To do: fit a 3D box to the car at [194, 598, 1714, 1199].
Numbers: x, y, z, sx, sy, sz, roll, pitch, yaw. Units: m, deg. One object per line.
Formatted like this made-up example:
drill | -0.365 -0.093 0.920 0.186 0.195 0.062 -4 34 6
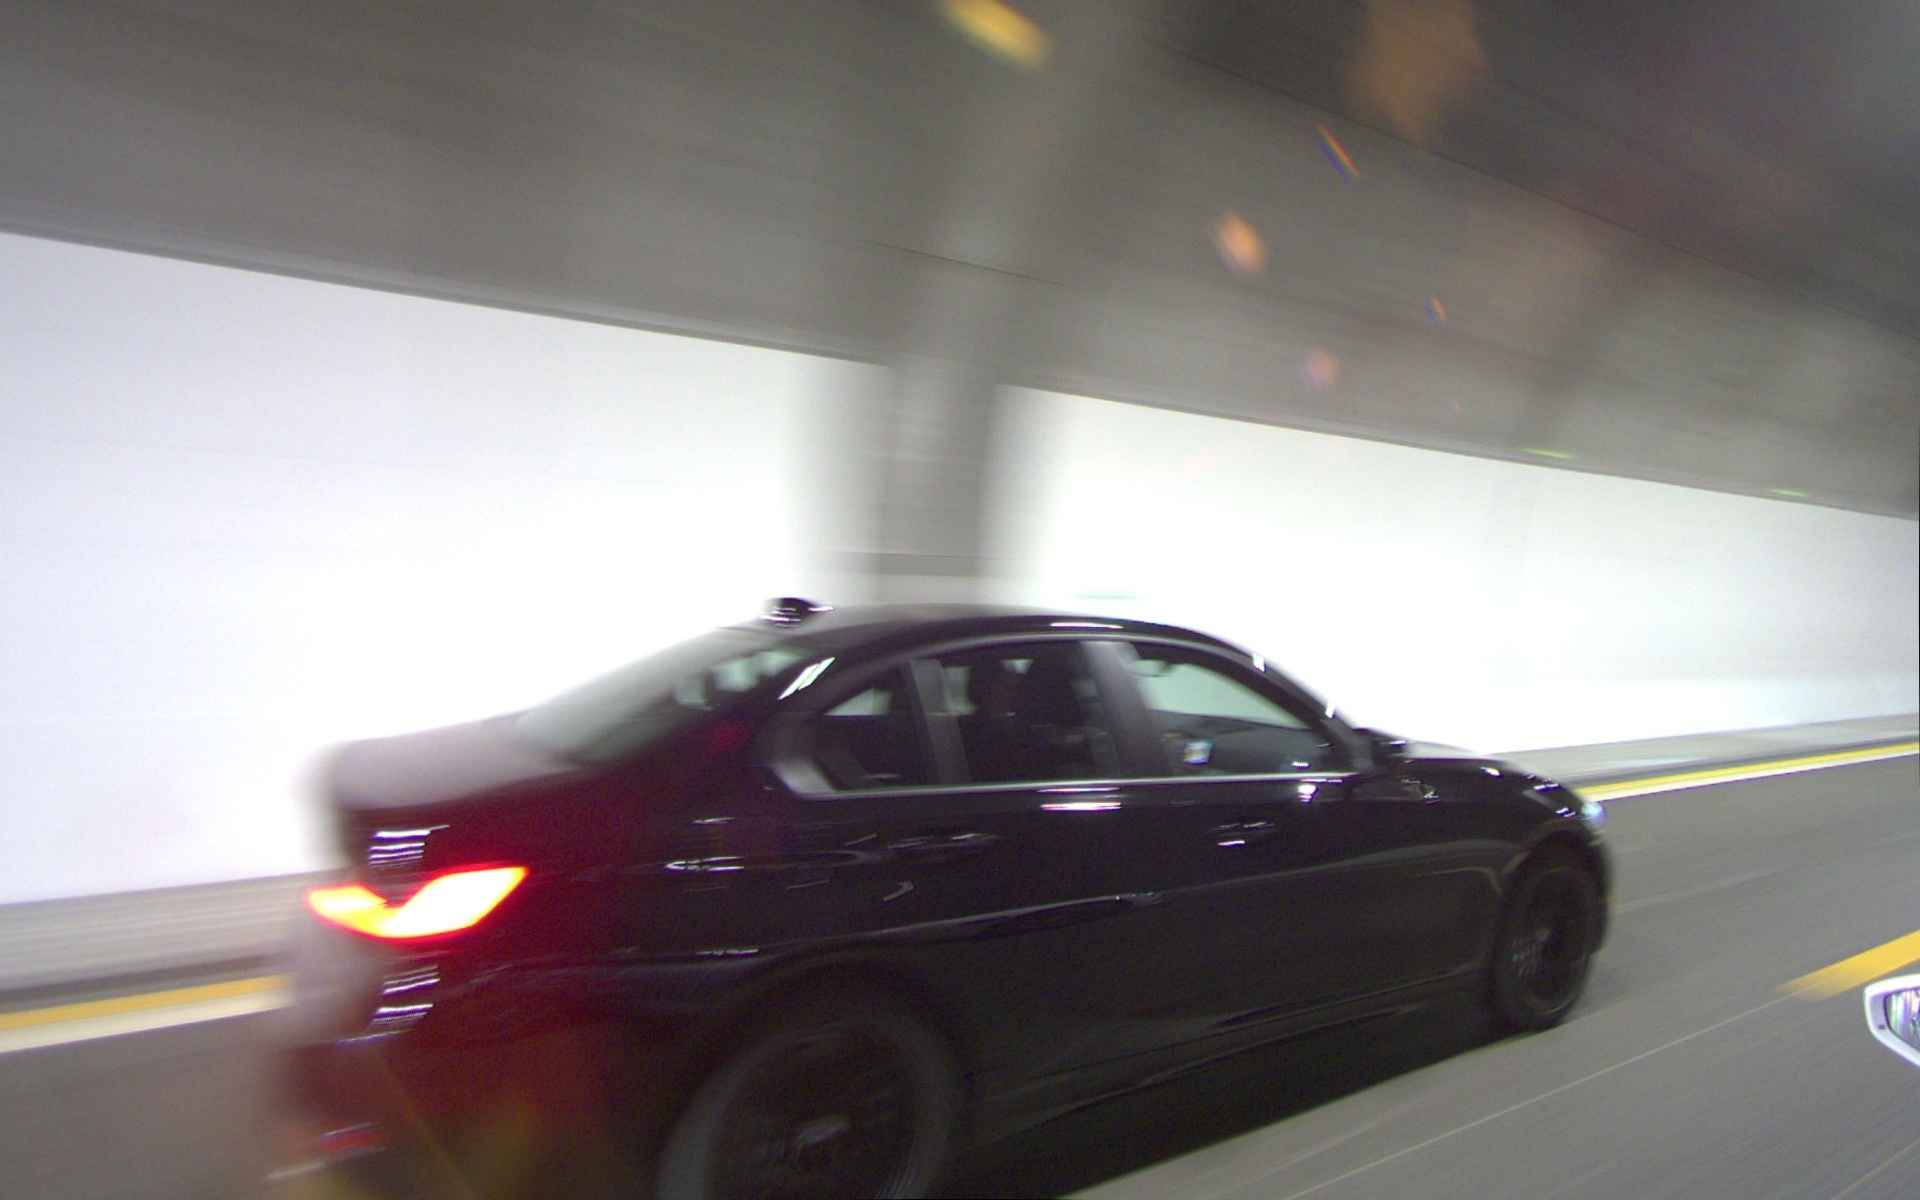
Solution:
car | 0.478 0.773 3.520 4.826 1.457 1.769 1 0 -31
